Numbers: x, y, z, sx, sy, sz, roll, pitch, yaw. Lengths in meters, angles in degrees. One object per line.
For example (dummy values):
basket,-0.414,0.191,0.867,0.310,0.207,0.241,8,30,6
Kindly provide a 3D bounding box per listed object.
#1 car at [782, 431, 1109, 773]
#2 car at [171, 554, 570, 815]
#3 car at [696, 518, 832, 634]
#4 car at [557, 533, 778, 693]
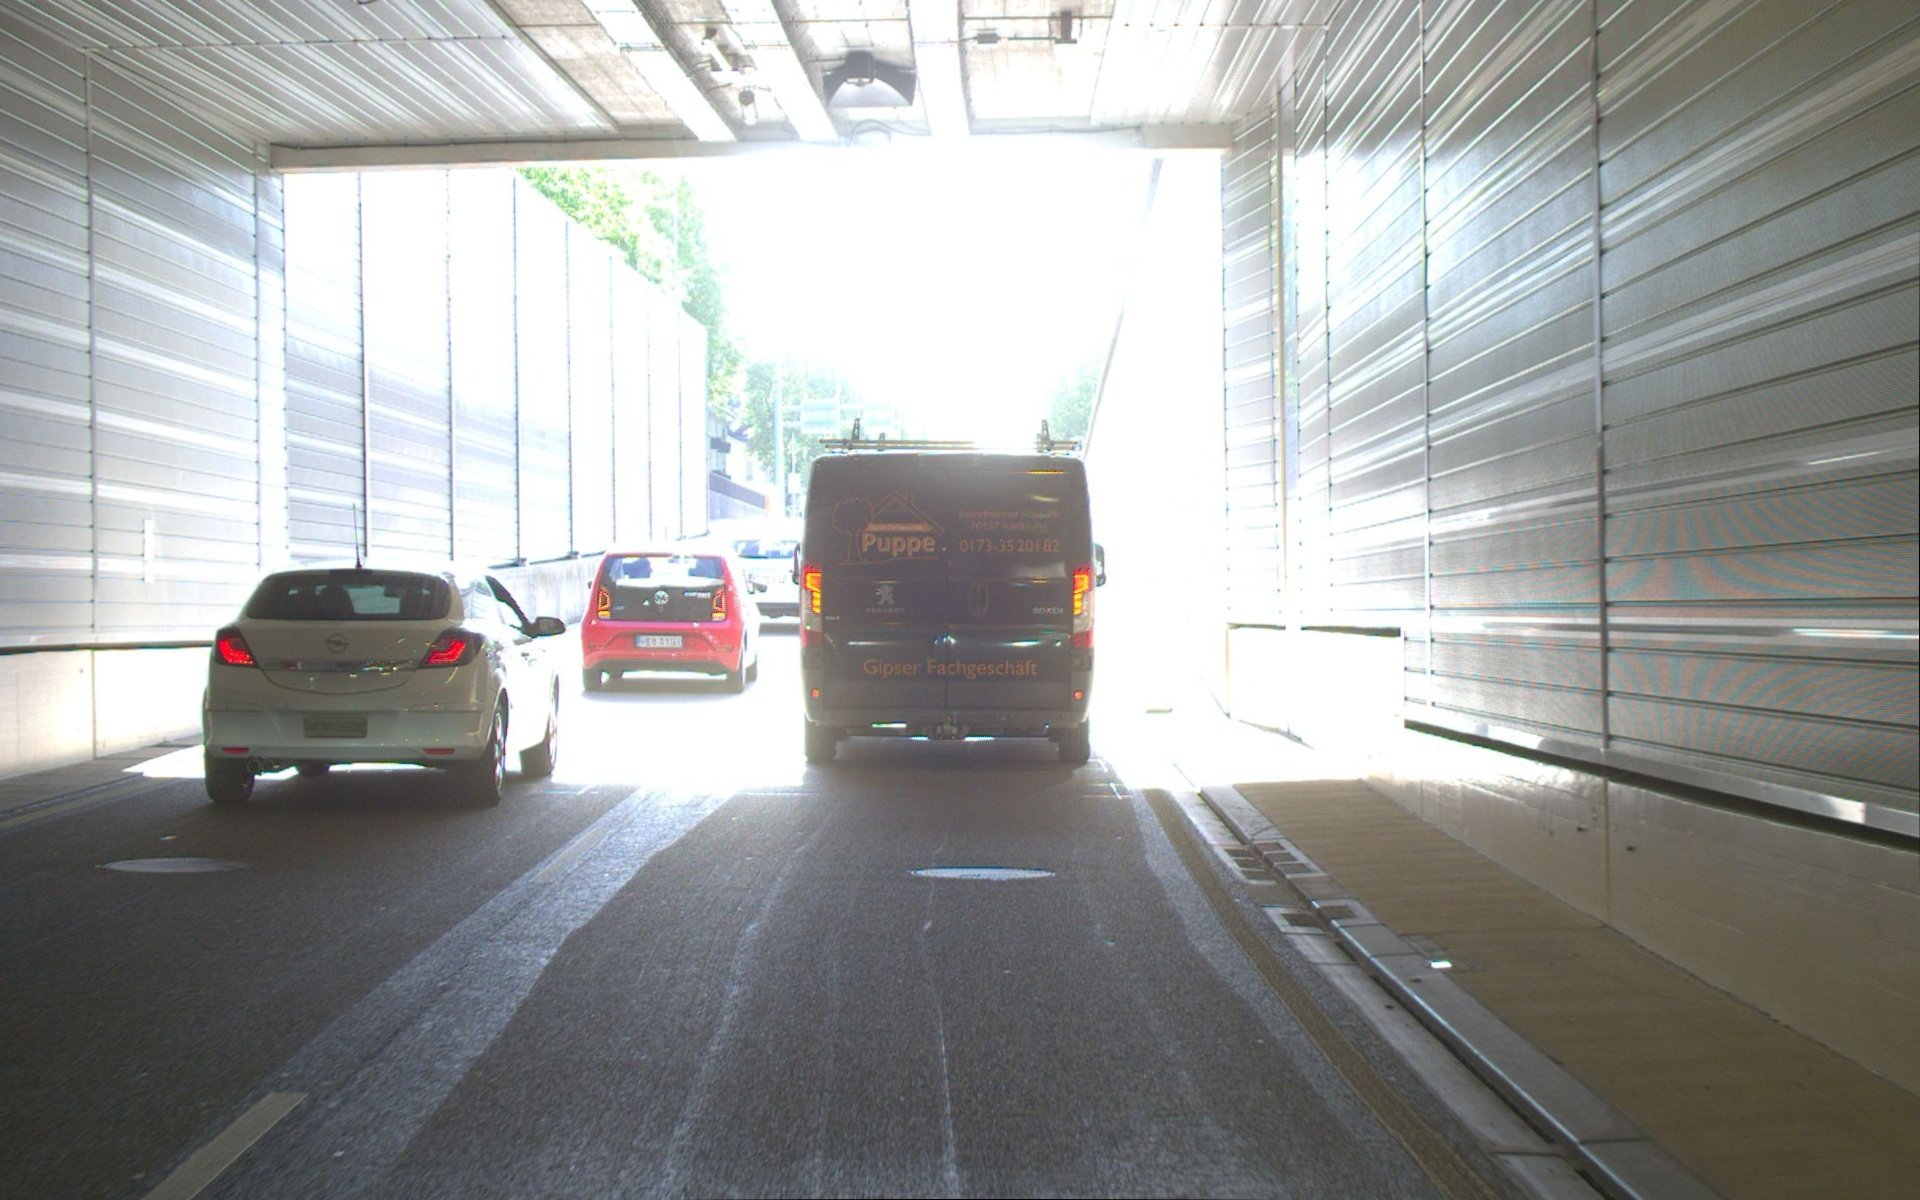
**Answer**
car,-0.080,-0.022,25.372,2.158,2.258,4.637,1,1,0
car,-3.490,0.443,21.030,1.709,1.408,3.974,1,1,0
car,-2.834,-0.321,50.439,1.876,1.576,4.220,2,0,-2
car,-2.952,0.087,35.480,1.815,1.507,4.220,2,1,1
